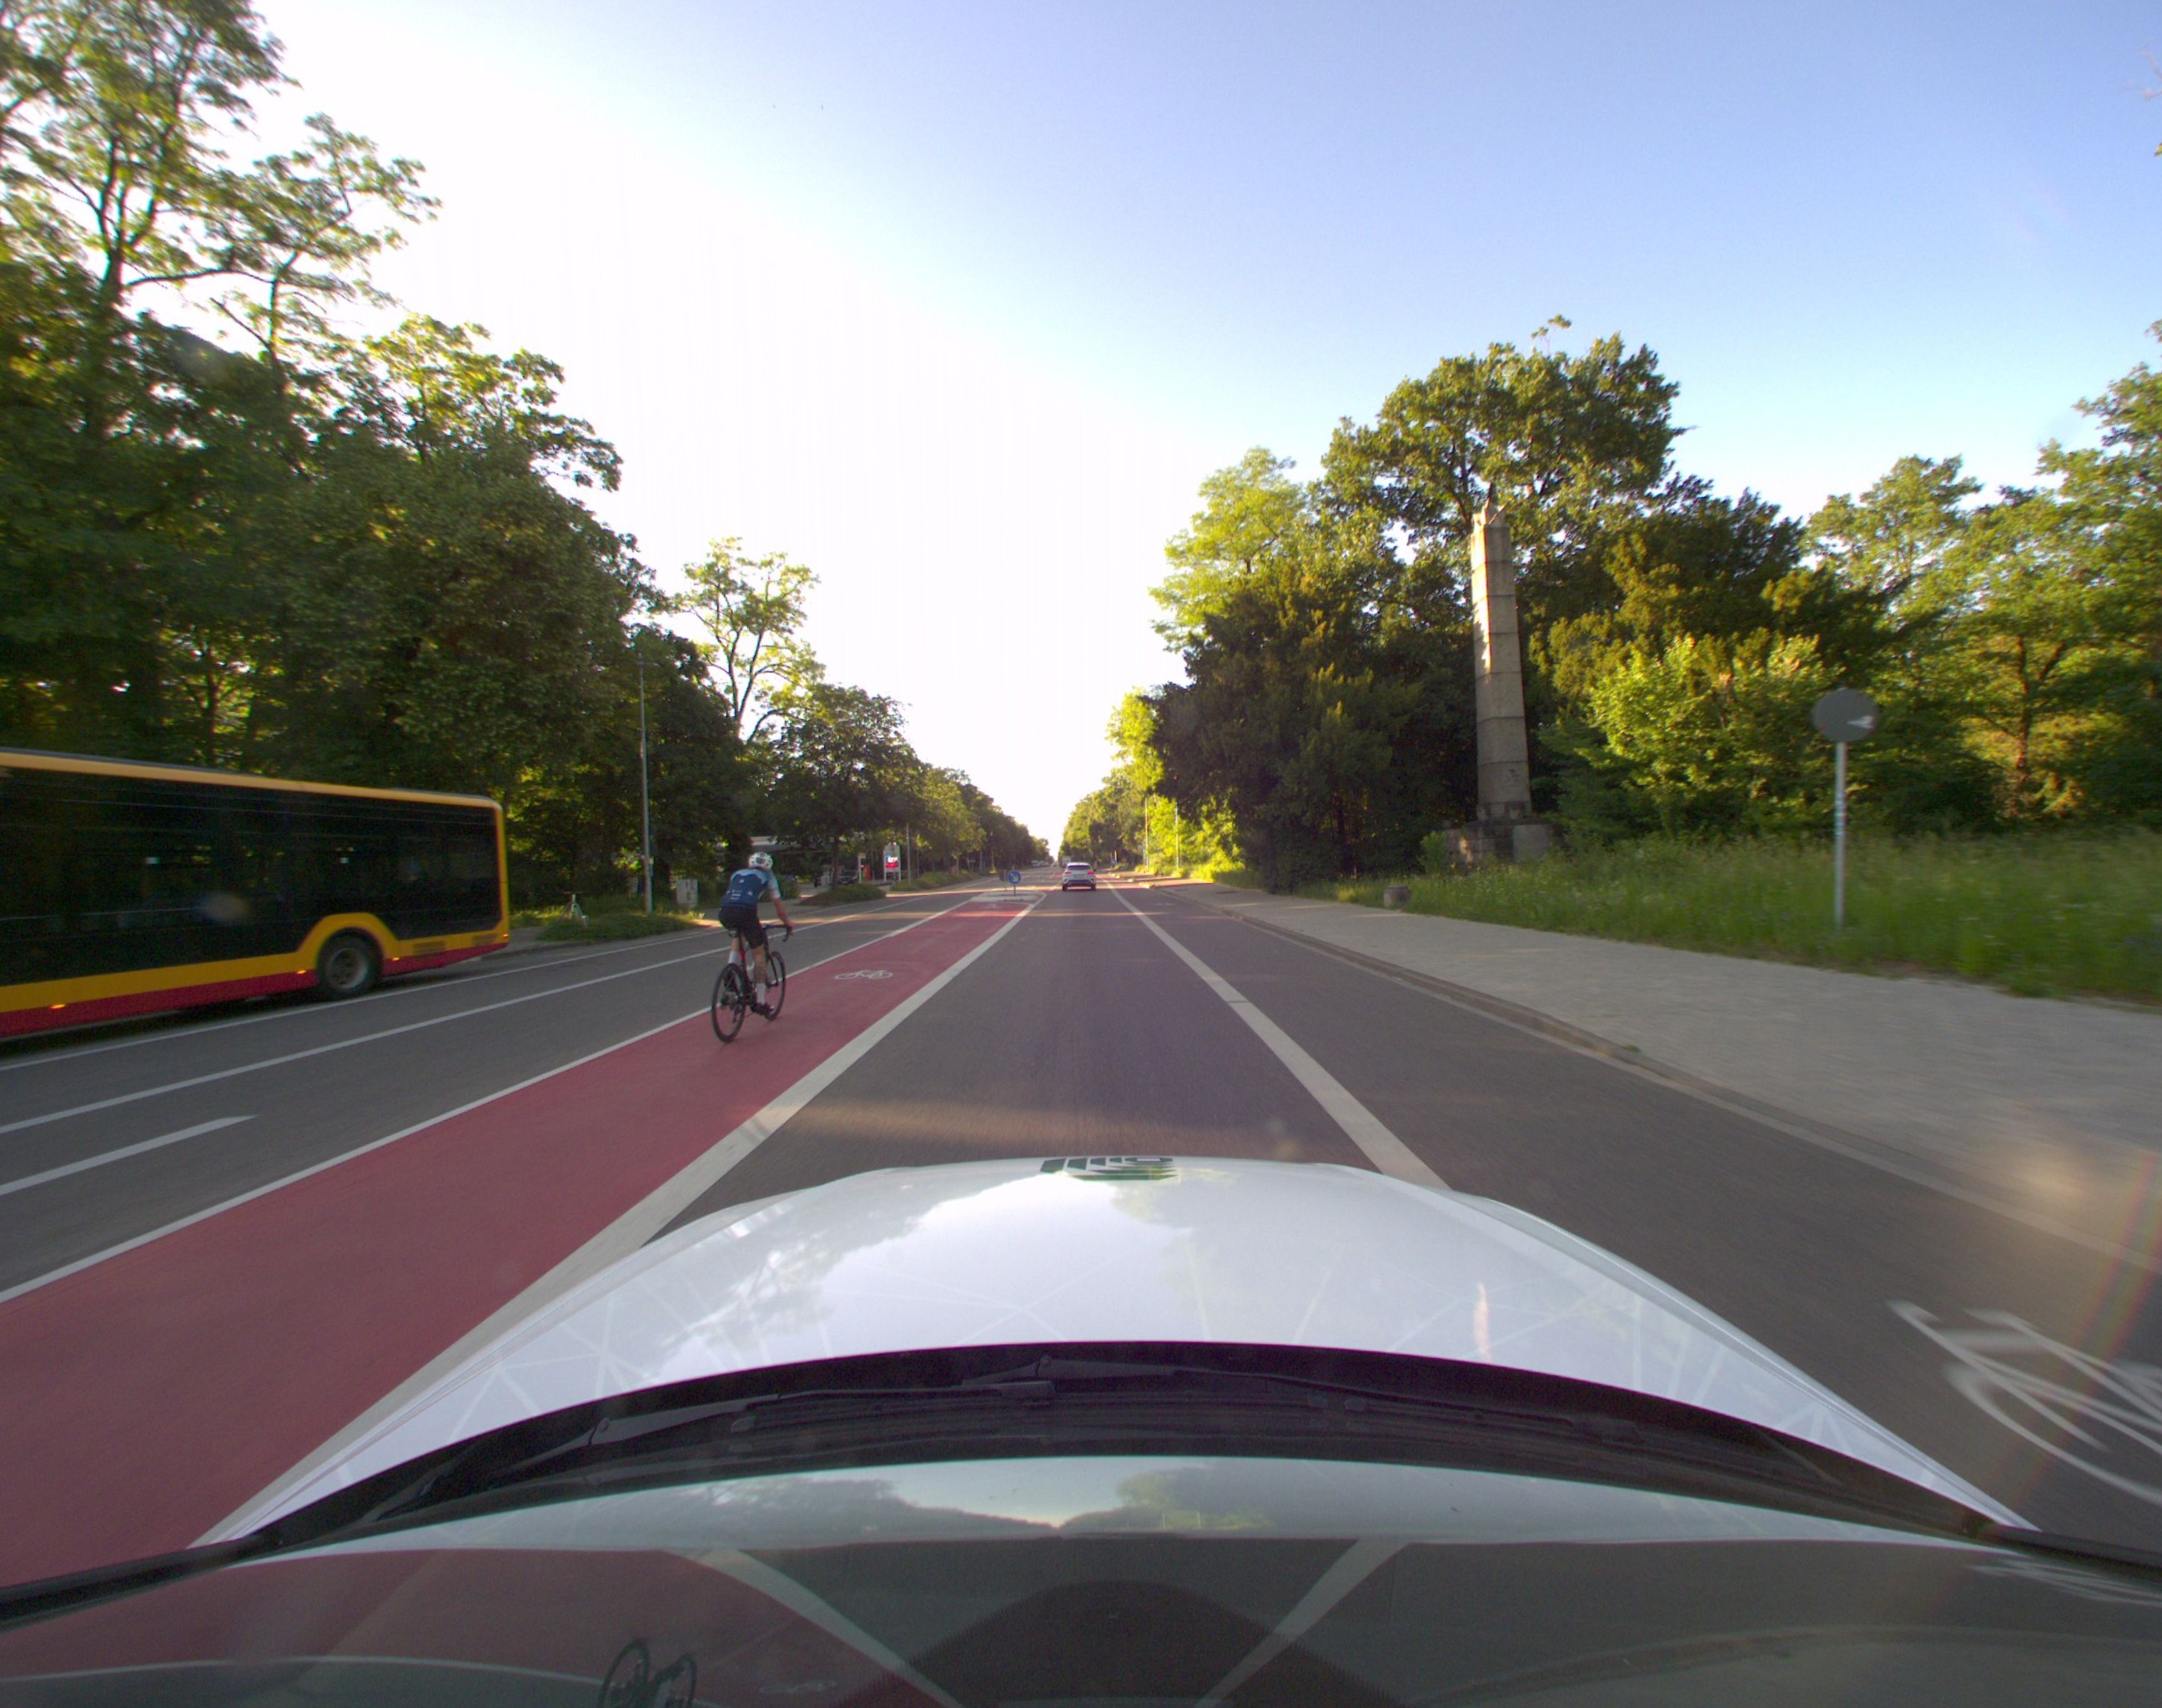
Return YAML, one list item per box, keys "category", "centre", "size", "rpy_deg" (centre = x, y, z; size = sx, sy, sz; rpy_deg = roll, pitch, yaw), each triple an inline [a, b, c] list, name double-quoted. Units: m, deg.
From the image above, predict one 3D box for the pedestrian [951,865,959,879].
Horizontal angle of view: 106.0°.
- category: "pedestrian"
  centre: [-18.280, 2.574, 117.787]
  size: [0.710, 2.013, 0.751]
  rpy_deg: [-3, -1, 28]

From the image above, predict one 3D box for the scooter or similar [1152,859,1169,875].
- category: "scooter or similar"
  centre: [6.670, 1.061, 68.200]
  size: [1.550, 1.250, 0.528]
  rpy_deg: [-3, -1, -45]

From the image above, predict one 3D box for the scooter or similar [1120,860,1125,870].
- category: "scooter or similar"
  centre: [6.298, 1.674, 123.863]
  size: [0.680, 1.423, 1.681]
  rpy_deg: [-3, -1, -1]

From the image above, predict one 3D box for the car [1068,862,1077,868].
- category: "car"
  centre: [-2.116, 2.898, 209.647]
  size: [1.990, 1.327, 3.993]
  rpy_deg: [-3, -1, -5]

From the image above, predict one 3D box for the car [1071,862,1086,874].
- category: "car"
  centre: [-0.317, 1.822, 109.946]
  size: [1.988, 1.519, 3.998]
  rpy_deg: [-2, -1, -1]

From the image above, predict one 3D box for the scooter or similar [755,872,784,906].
- category: "scooter or similar"
  centre: [-16.769, 1.883, 43.909]
  size: [0.825, 1.717, 1.740]
  rpy_deg: [-3, -1, 0]

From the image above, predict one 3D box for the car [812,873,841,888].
- category: "car"
  centre: [-27.564, 2.868, 88.322]
  size: [1.706, 1.498, 4.574]
  rpy_deg: [-3, -1, -2]

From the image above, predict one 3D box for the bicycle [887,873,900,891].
- category: "bicycle"
  centre: [-13.732, 2.026, 59.742]
  size: [0.653, 1.250, 2.154]
  rpy_deg: [-3, -1, -6]

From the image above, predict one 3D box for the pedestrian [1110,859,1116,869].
- category: "pedestrian"
  centre: [4.813, 1.483, 122.369]
  size: [0.752, 1.563, 0.803]
  rpy_deg: [-3, -1, 3]

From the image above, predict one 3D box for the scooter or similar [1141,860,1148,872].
- category: "scooter or similar"
  centre: [6.705, 1.308, 86.049]
  size: [0.531, 1.250, 1.540]
  rpy_deg: [-3, -1, -1]

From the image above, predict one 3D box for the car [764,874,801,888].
- category: "car"
  centre: [-38.048, 3.479, 103.867]
  size: [3.982, 1.555, 1.895]
  rpy_deg: [-3, -1, -7]

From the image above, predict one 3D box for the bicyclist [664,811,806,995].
- category: "bicyclist"
  centre: [-3.119, 0.423, 7.429]
  size: [0.856, 1.567, 0.882]
  rpy_deg: [-1, -1, 4]

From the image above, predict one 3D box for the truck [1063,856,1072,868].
- category: "truck"
  centre: [-4.232, 2.563, 253.344]
  size: [2.793, 3.570, 8.026]
  rpy_deg: [-1, -1, -3]

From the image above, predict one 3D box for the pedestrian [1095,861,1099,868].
- category: "pedestrian"
  centre: [3.529, 2.322, 178.887]
  size: [0.696, 1.653, 0.875]
  rpy_deg: [-3, -1, -2]

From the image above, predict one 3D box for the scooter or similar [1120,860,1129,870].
- category: "scooter or similar"
  centre: [6.179, 1.560, 115.747]
  size: [0.683, 1.423, 1.673]
  rpy_deg: [-2, -1, -15]

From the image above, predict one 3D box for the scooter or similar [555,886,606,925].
- category: "scooter or similar"
  centre: [-18.199, 1.865, 29.647]
  size: [0.825, 1.310, 1.570]
  rpy_deg: [-3, -1, 0]

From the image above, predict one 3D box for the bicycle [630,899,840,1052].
- category: "bicycle"
  centre: [-3.072, 1.029, 7.542]
  size: [0.887, 1.095, 2.138]
  rpy_deg: [-1, 0, 4]

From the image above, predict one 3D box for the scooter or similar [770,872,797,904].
- category: "scooter or similar"
  centre: [-16.735, 1.912, 45.853]
  size: [0.825, 1.717, 1.740]
  rpy_deg: [-3, -1, 0]

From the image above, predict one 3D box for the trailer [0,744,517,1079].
- category: "trailer"
  centre: [-12.187, 0.621, 10.692]
  size: [2.844, 3.355, 9.364]
  rpy_deg: [-1, -1, 1]

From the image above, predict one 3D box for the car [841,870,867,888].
- category: "car"
  centre: [-23.374, 2.506, 83.814]
  size: [1.708, 1.691, 4.445]
  rpy_deg: [-3, -1, -5]

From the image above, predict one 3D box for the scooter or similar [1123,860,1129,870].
- category: "scooter or similar"
  centre: [6.187, 1.527, 111.797]
  size: [0.680, 1.423, 1.680]
  rpy_deg: [-3, -1, -2]

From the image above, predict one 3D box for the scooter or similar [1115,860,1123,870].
- category: "scooter or similar"
  centre: [5.585, 1.626, 119.480]
  size: [0.684, 1.423, 1.672]
  rpy_deg: [-2, -1, -17]

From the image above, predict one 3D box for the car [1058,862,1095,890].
- category: "car"
  centre: [-0.292, 1.175, 44.417]
  size: [1.758, 1.459, 3.811]
  rpy_deg: [-1, -1, -5]

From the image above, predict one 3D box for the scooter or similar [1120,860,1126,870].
- category: "scooter or similar"
  centre: [6.203, 1.604, 120.810]
  size: [0.680, 1.423, 1.681]
  rpy_deg: [-3, -1, -1]
